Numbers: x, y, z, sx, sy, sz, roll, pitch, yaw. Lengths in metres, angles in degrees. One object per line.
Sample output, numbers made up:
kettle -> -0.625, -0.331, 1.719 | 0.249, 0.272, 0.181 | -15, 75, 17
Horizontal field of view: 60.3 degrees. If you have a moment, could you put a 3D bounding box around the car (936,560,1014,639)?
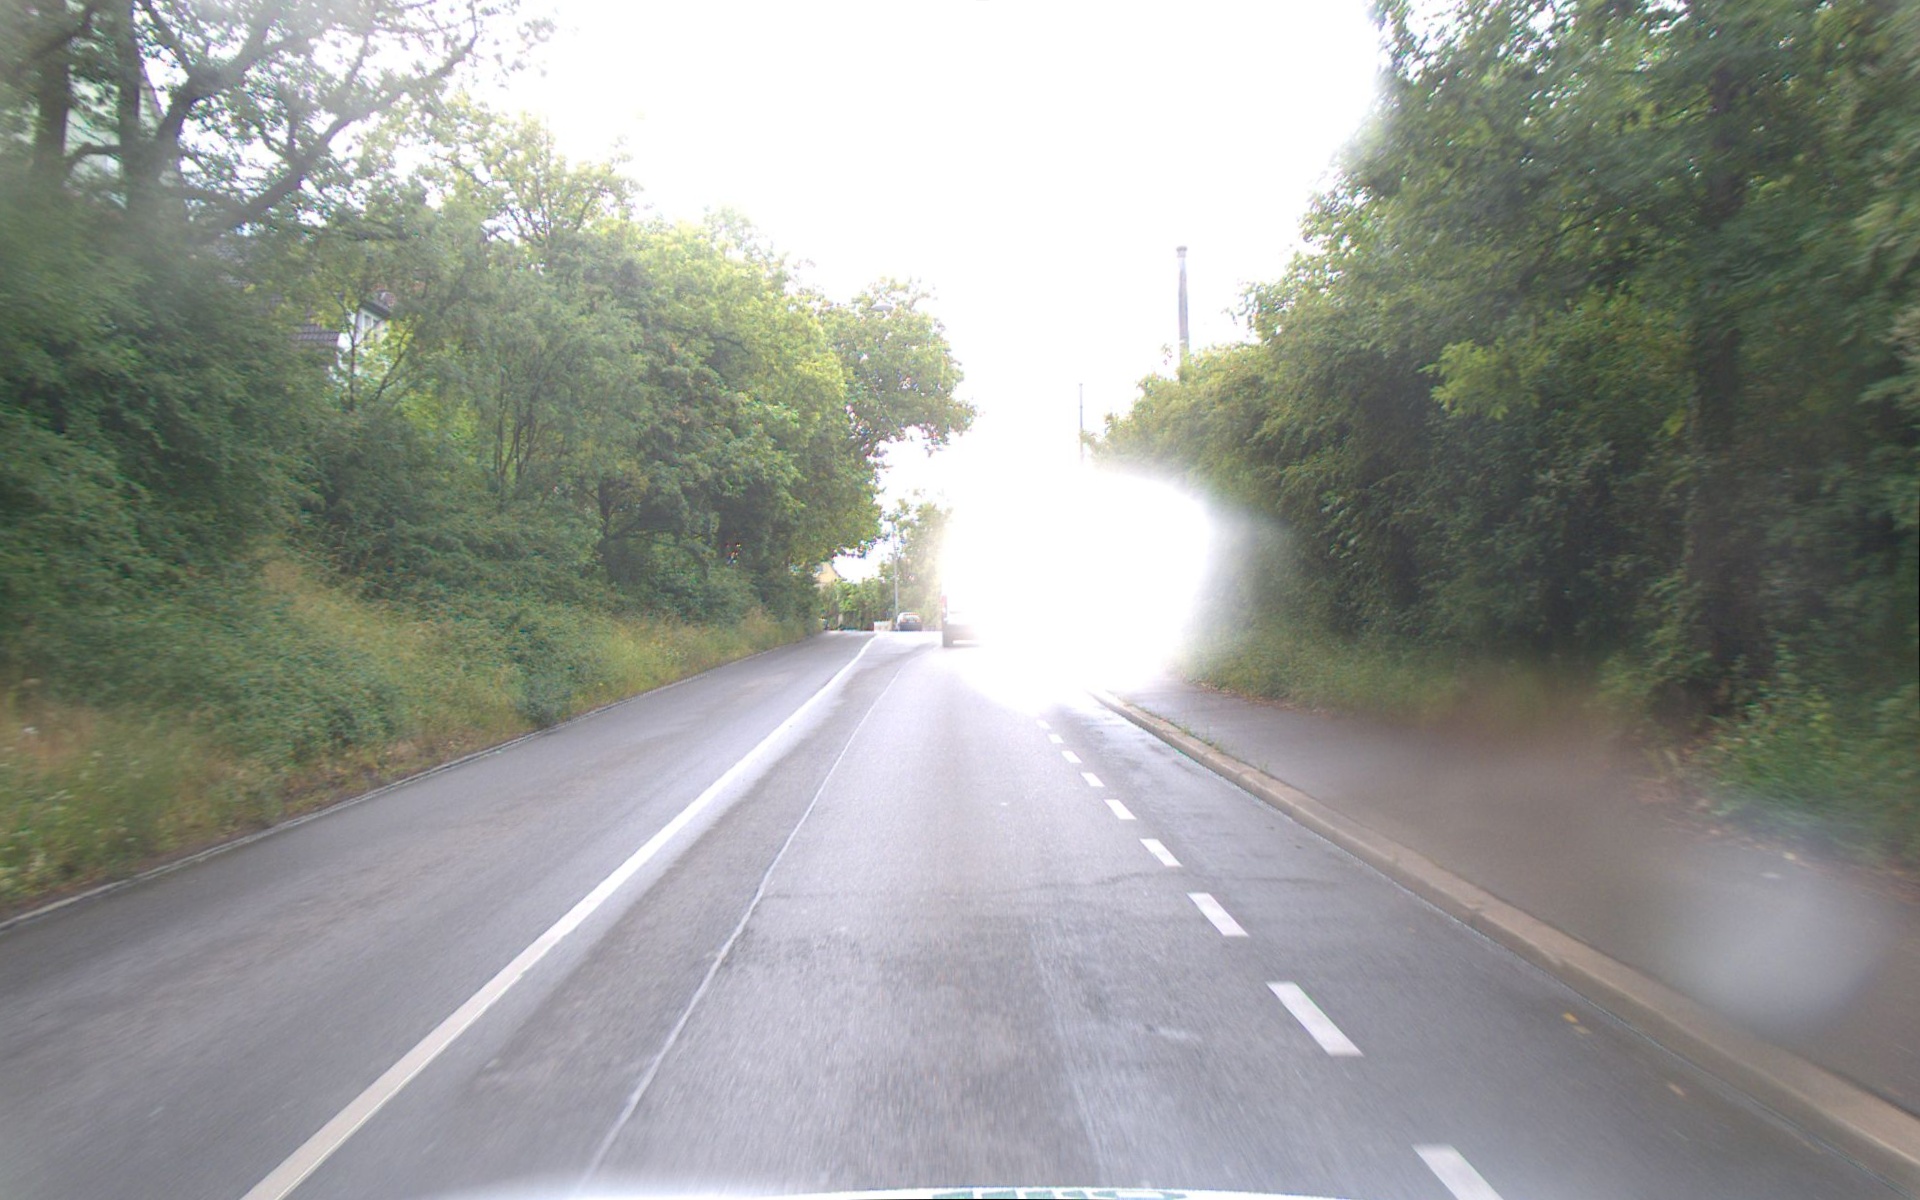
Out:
car -> 0.401, -0.013, 50.073 | 2.192, 2.252, 4.712 | 1, 0, -1

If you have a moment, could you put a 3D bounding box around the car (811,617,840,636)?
car -> -12.805, 2.500, 157.209 | 2.075, 1.741, 4.696 | 1, 0, -14

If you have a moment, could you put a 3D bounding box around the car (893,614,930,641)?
car -> -3.491, 1.982, 119.620 | 2.190, 1.836, 4.715 | 1, 0, 4
